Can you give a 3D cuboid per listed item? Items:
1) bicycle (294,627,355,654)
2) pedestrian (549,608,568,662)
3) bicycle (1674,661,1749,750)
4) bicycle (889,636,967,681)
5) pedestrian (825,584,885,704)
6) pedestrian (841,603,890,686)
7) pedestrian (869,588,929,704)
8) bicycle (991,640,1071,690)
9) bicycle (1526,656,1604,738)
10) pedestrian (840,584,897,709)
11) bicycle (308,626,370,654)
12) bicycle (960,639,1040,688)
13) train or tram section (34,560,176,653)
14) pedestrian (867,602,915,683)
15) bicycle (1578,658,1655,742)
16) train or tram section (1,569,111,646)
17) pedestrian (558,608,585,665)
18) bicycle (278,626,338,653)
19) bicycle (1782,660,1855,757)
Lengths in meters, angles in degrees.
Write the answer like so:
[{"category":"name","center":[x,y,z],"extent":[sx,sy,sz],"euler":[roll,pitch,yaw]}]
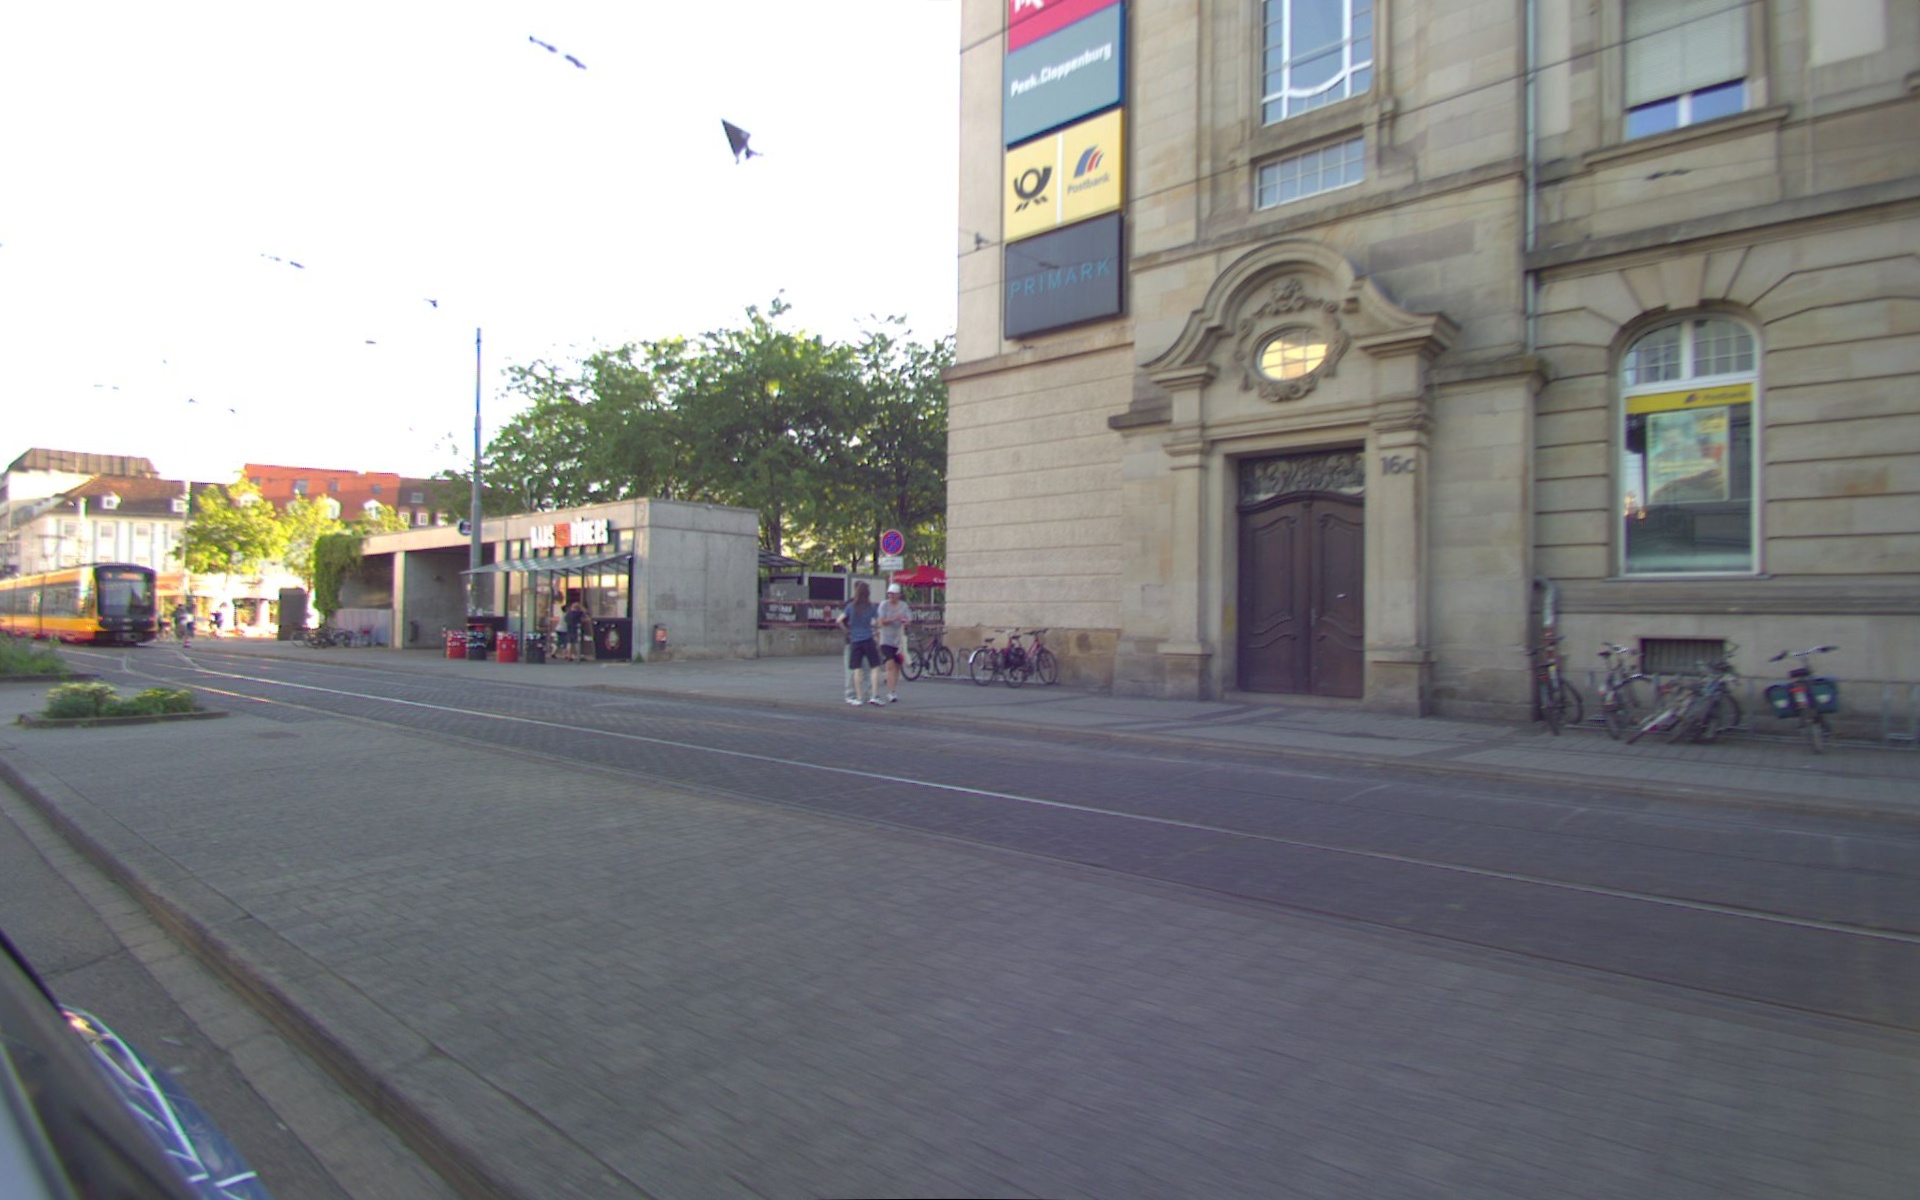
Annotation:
[{"category":"bicycle","center":[-27.416,1.732,43.680],"extent":[0.692,1.168,2.103],"euler":[-1,-2,42]},{"category":"pedestrian","center":[-12.460,1.087,31.374],"extent":[0.400,1.665,0.389],"euler":[0,0,35]},{"category":"bicycle","center":[8.571,1.169,11.518],"extent":[1.557,0.880,0.451],"euler":[0,0,-45]},{"category":"bicycle","center":[-0.666,1.230,21.600],"extent":[0.634,0.875,1.817],"euler":[0,0,39]},{"category":"pedestrian","center":[-1.566,0.652,15.152],"extent":[0.593,1.749,0.643],"euler":[-1,-3,32]},{"category":"pedestrian","center":[-1.817,0.844,19.568],"extent":[0.679,1.573,0.653],"euler":[-1,-2,37]},{"category":"pedestrian","center":[-0.944,0.706,15.679],"extent":[0.676,1.749,0.671],"euler":[0,-3,23]},{"category":"bicycle","center":[1.405,1.248,19.748],"extent":[0.634,0.875,1.817],"euler":[0,0,39]},{"category":"bicycle","center":[7.474,1.169,12.480],"extent":[1.557,0.880,0.451],"euler":[0,0,-45]},{"category":"pedestrian","center":[-1.316,0.669,14.485],"extent":[0.669,1.749,0.484],"euler":[2,-3,-19]},{"category":"bicycle","center":[-26.165,1.669,42.652],"extent":[0.692,1.168,2.103],"euler":[-1,-2,42]},{"category":"bicycle","center":[0.818,1.248,20.174],"extent":[0.634,0.875,1.817],"euler":[0,0,39]},{"category":"train or tram section","center":[-39.041,0.378,45.952],"extent":[13.474,3.714,2.865],"euler":[-1,-2,41]},{"category":"pedestrian","center":[-1.364,0.835,20.101],"extent":[0.679,1.573,0.653],"euler":[-1,-2,37]},{"category":"bicycle","center":[7.898,1.169,12.147],"extent":[1.557,0.880,0.451],"euler":[0,0,-45]},{"category":"train or tram section","center":[-48.675,0.469,54.321],"extent":[11.977,3.714,2.865],"euler":[-1,-2,41]},{"category":"pedestrian","center":[-11.583,1.085,30.180],"extent":[0.551,1.665,0.556],"euler":[0,0,35]},{"category":"bicycle","center":[-28.808,1.733,44.723],"extent":[0.692,1.168,2.103],"euler":[-1,-2,42]},{"category":"bicycle","center":[9.086,1.115,10.693],"extent":[1.557,0.880,0.451],"euler":[0,0,-45]}]
